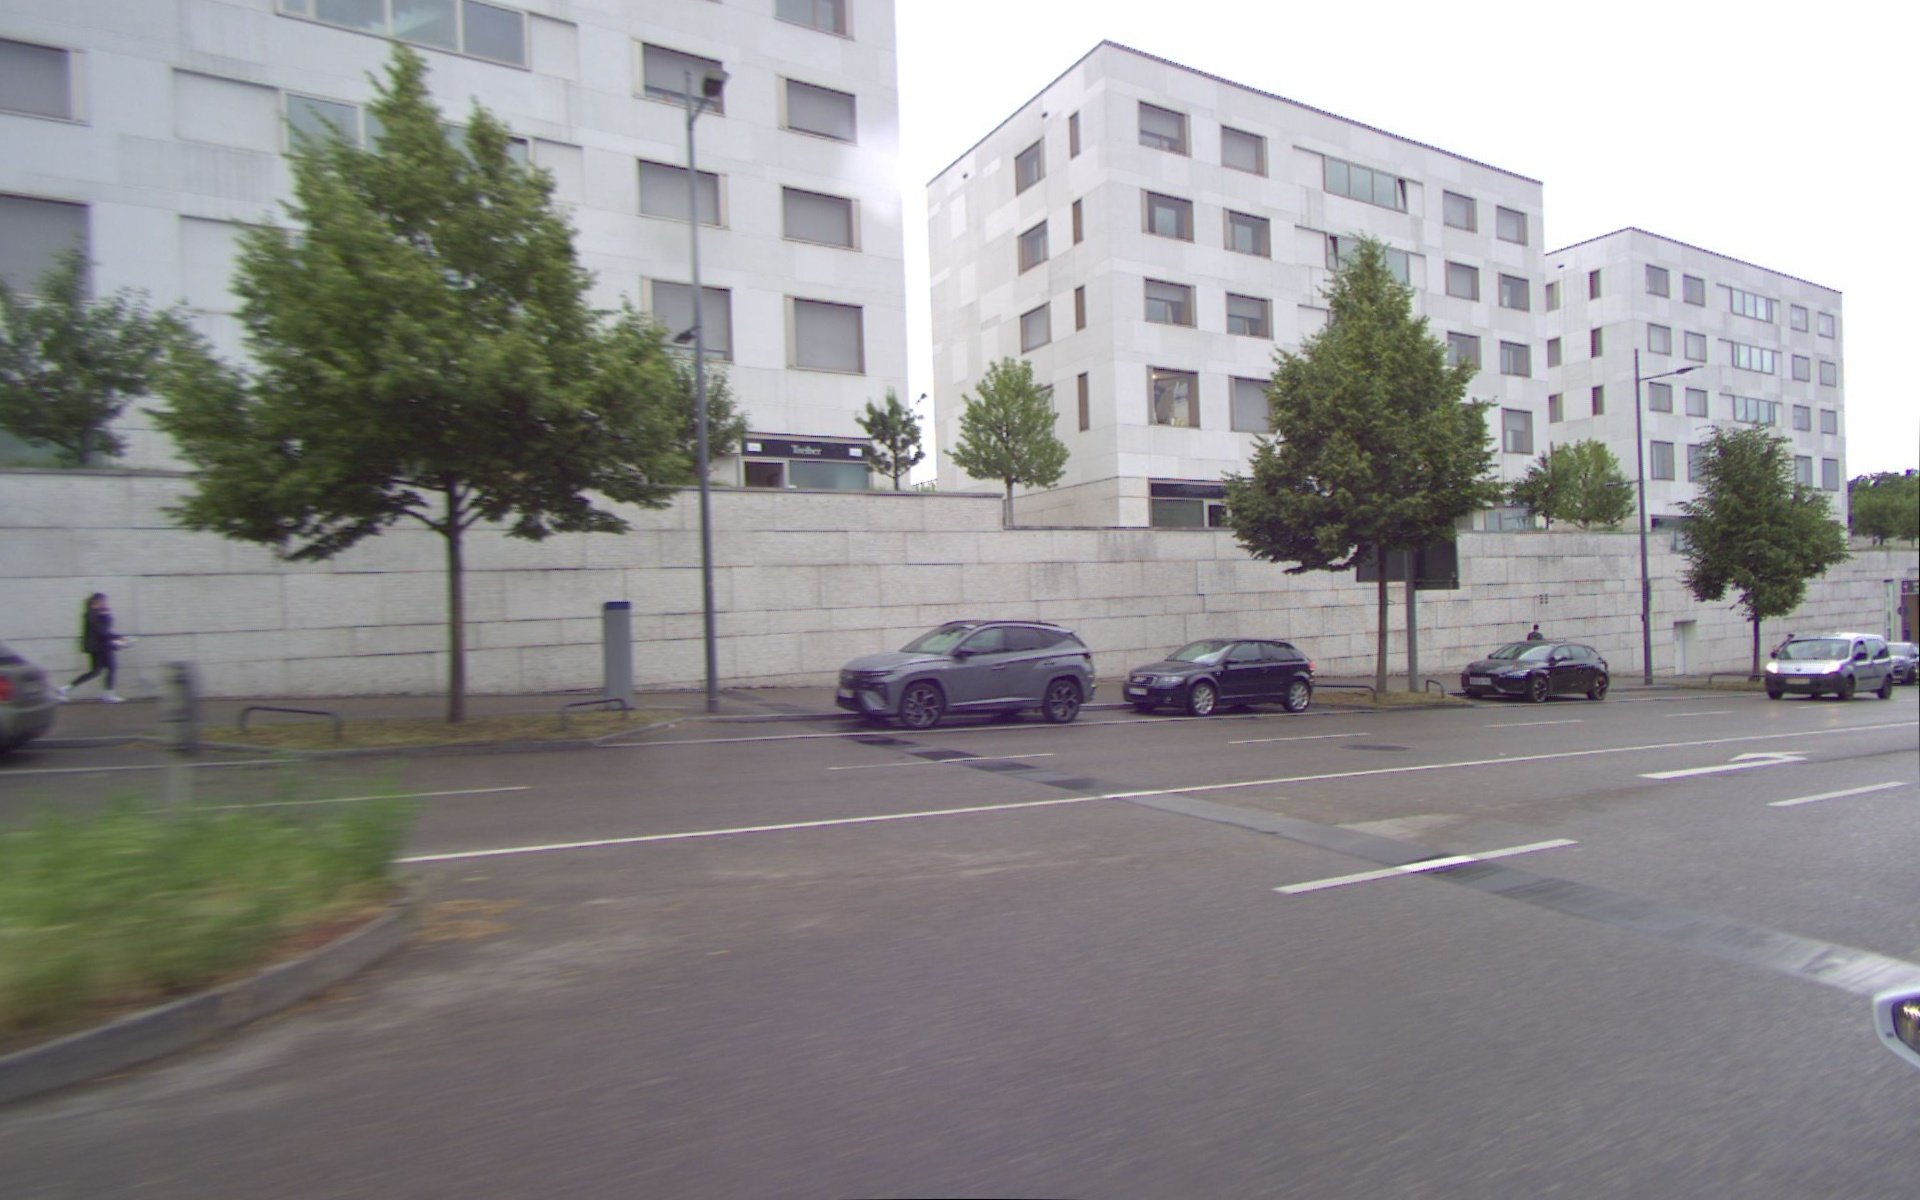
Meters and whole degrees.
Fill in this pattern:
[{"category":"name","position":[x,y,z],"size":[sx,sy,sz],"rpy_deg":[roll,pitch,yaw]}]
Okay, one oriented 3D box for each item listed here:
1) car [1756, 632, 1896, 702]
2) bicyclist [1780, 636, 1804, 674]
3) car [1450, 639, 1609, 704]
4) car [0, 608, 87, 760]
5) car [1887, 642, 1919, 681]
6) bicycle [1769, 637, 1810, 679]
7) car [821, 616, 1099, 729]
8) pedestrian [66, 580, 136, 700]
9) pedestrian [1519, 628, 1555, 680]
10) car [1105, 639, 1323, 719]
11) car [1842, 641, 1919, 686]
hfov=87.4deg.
[{"category":"car","position":[23.810,1.782,27.587],"size":[4.289,1.769,1.701],"rpy_deg":[2,-2,-32]},{"category":"bicyclist","position":[34.522,2.290,41.679],"size":[0.760,1.538,0.574],"rpy_deg":[2,-2,-31]},{"category":"car","position":[14.168,1.744,24.955],"size":[3.918,1.445,1.671],"rpy_deg":[2,-1,-30]},{"category":"car","position":[-11.300,0.805,9.858],"size":[3.813,1.463,1.687],"rpy_deg":[1,0,-29]},{"category":"car","position":[39.530,2.518,41.143],"size":[2.945,1.535,1.501],"rpy_deg":[2,-1,-30]},{"category":"bicycle","position":[34.467,2.401,41.730],"size":[1.858,1.679,0.739],"rpy_deg":[2,-1,-30]},{"category":"car","position":[0.052,1.161,16.584],"size":[4.311,1.642,1.695],"rpy_deg":[3,-2,-30]},{"category":"pedestrian","position":[-13.310,0.609,15.580],"size":[0.684,1.798,0.715],"rpy_deg":[1,0,-31]},{"category":"pedestrian","position":[20.438,1.900,35.600],"size":[1.009,1.798,0.704],"rpy_deg":[2,-2,-31]},{"category":"car","position":[4.978,1.473,19.593],"size":[4.113,1.378,1.687],"rpy_deg":[2,-1,-30]},{"category":"car","position":[34.734,2.352,37.495],"size":[3.667,1.535,1.671],"rpy_deg":[2,-1,-31]}]
